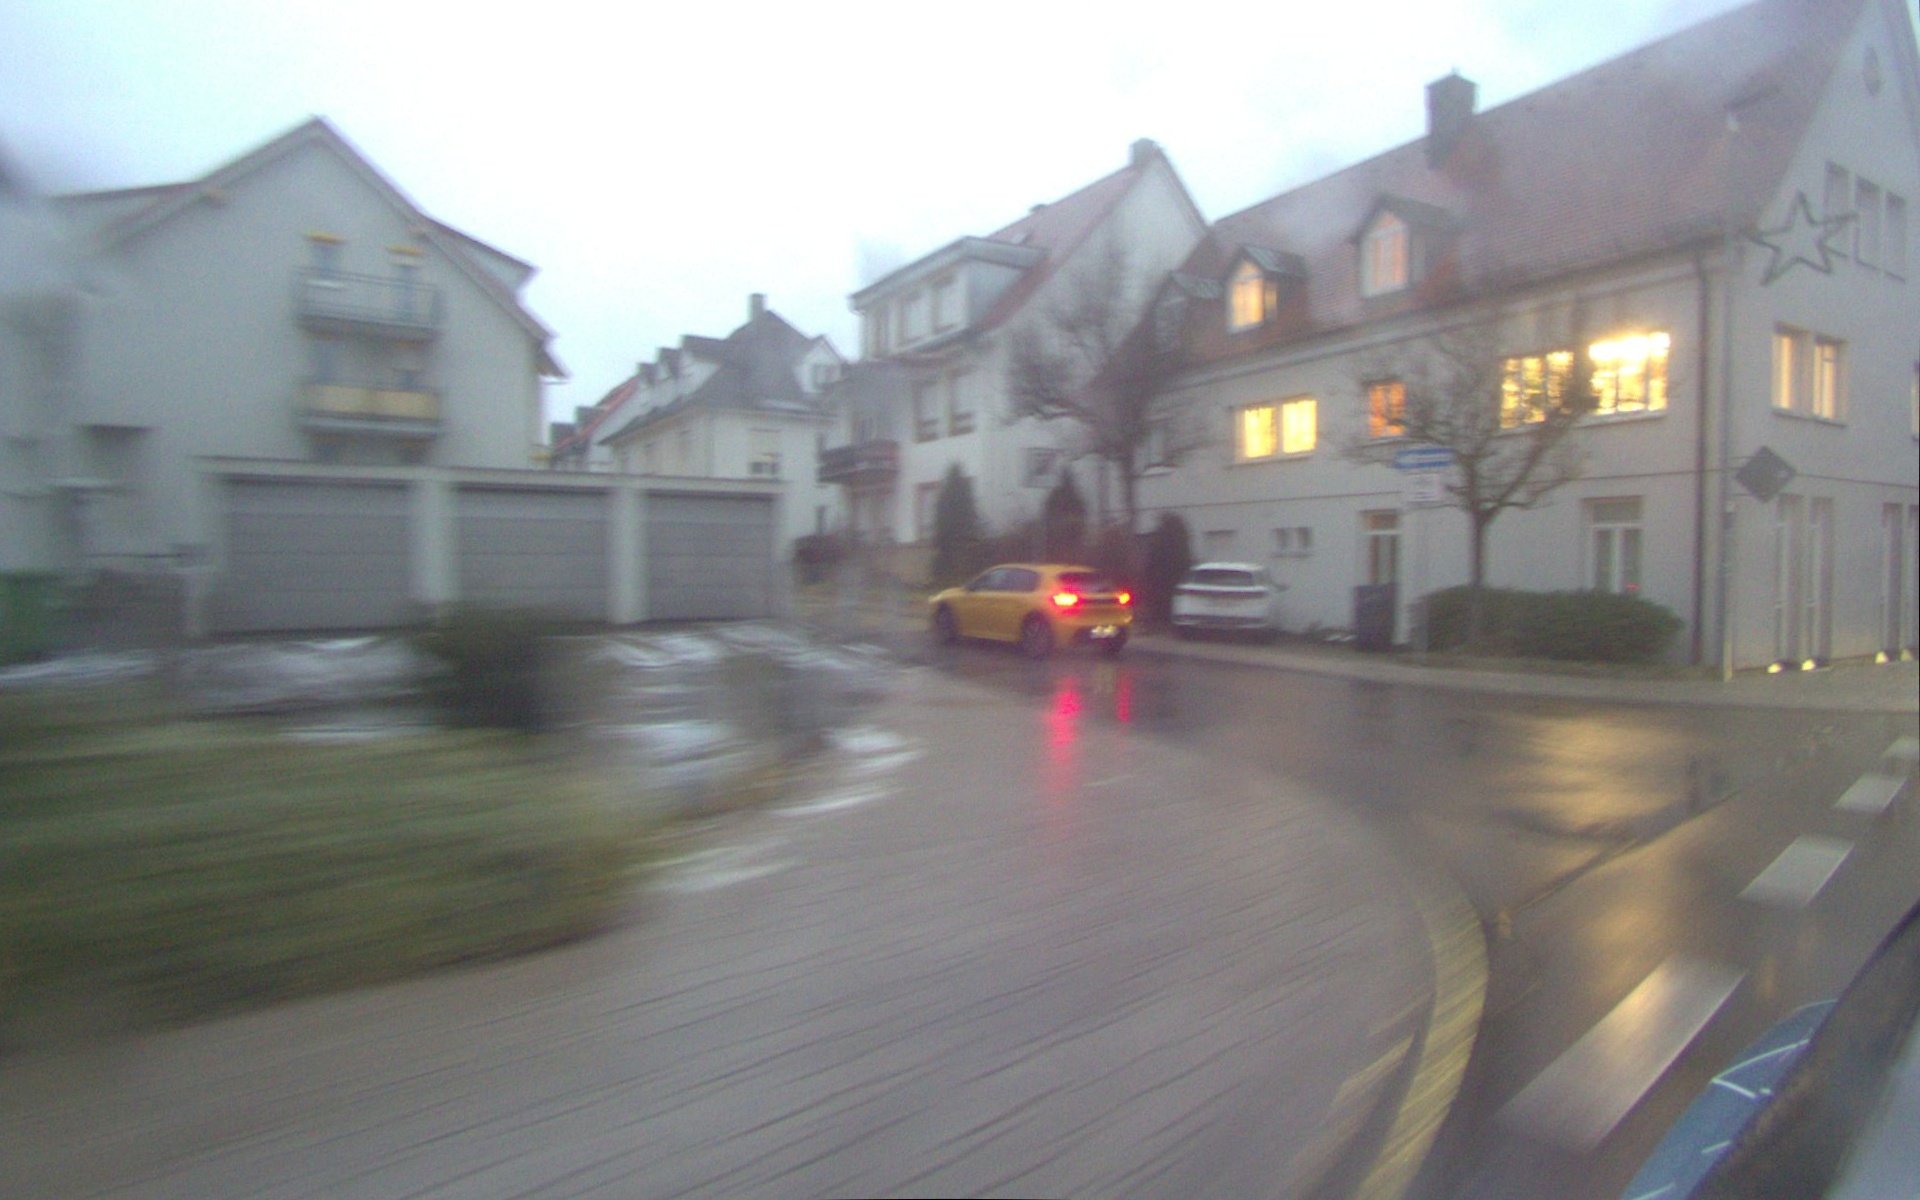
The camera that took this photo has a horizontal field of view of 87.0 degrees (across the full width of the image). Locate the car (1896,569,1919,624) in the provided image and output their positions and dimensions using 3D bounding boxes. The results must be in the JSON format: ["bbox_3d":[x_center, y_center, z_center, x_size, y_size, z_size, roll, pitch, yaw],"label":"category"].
[{"bbox_3d":[33.929,-0.088,34.629,4.161,1.844,1.788,0,2,-33],"label":"car"}]

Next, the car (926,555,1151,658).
[{"bbox_3d":[1.188,0.026,16.829,1.742,1.465,3.728,0,2,-35],"label":"car"}]

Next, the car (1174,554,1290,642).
[{"bbox_3d":[5.465,-0.088,19.957,1.774,1.486,4.196,3,2,21],"label":"car"}]
